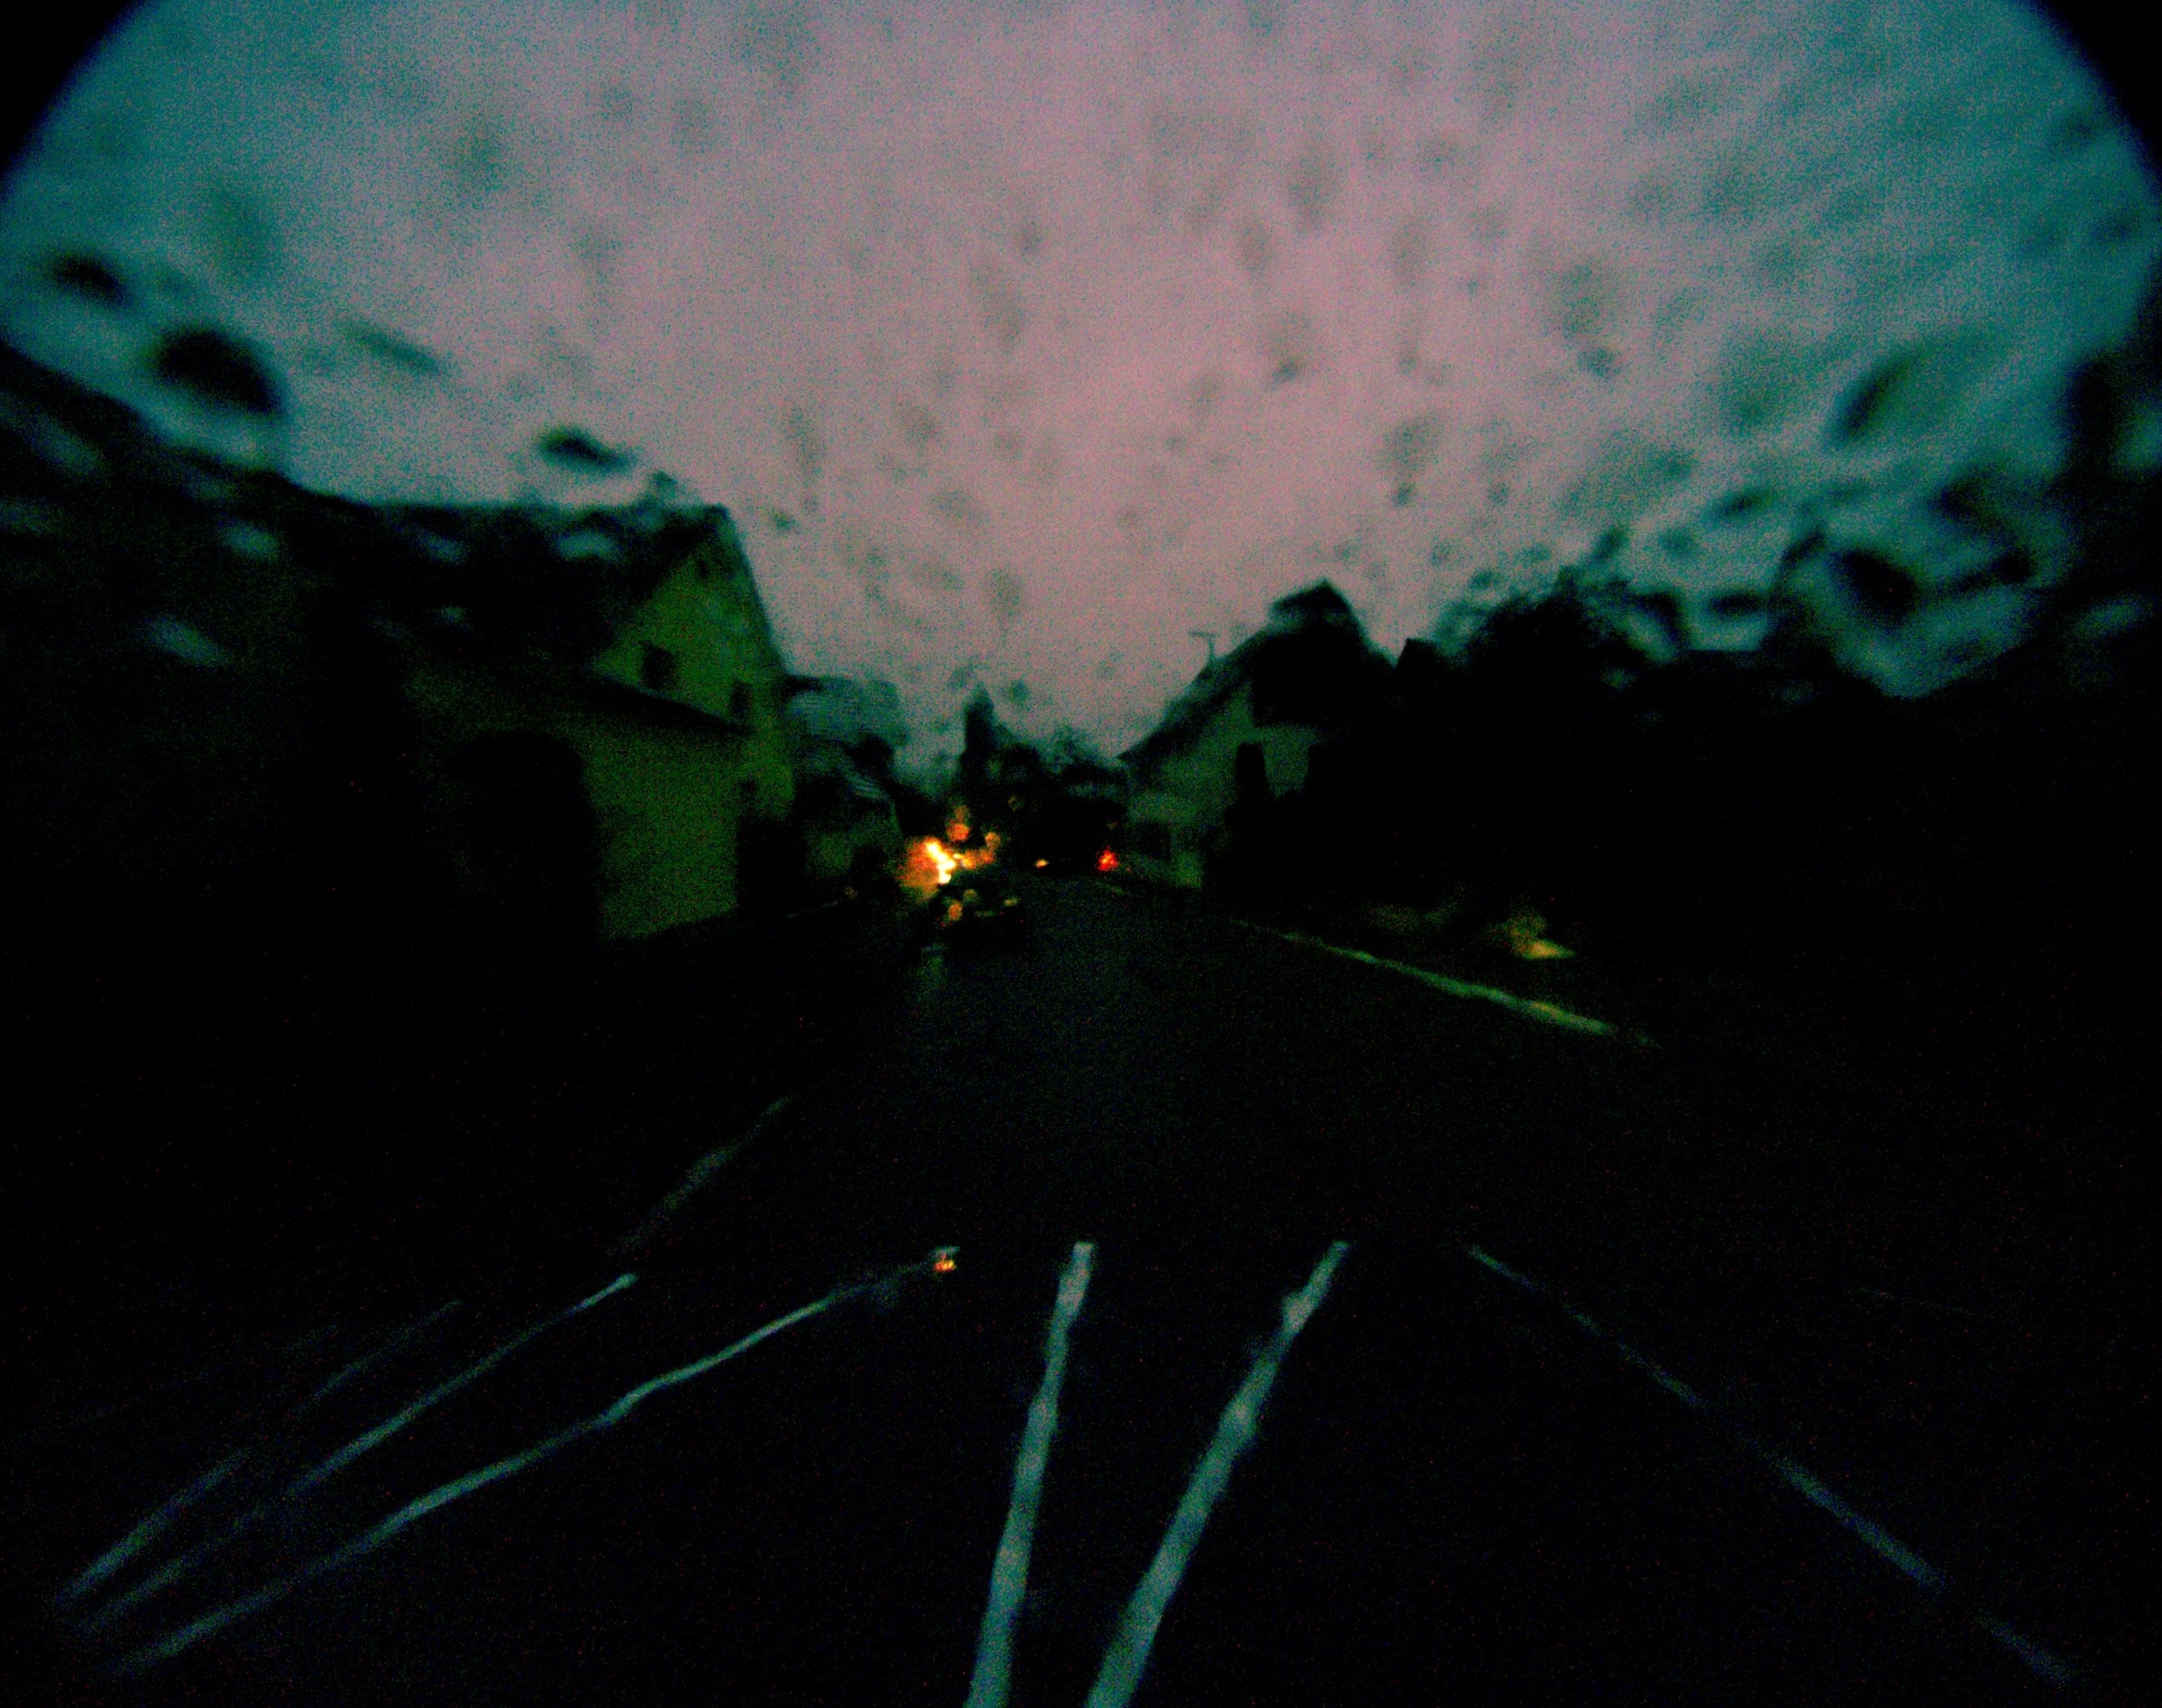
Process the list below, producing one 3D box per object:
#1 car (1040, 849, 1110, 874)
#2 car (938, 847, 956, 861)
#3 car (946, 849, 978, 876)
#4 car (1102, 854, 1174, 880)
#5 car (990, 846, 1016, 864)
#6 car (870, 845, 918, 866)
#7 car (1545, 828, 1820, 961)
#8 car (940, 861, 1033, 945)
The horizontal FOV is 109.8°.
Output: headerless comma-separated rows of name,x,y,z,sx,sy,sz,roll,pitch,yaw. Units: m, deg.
car,-0.433,0.507,53.597,4.484,1.570,1.997,-1,1,-17
car,-15.740,-0.026,89.446,1.765,1.489,3.996,-2,1,-7
car,-9.348,0.648,59.659,2.001,2.002,3.994,-1,1,-15
car,3.410,0.739,46.047,2.004,1.417,4.225,-2,2,-40
car,-7.208,0.067,70.196,2.000,1.620,3.995,-1,1,-11
car,-16.775,0.095,68.103,4.003,1.784,1.996,-1,1,-20
car,9.146,0.497,11.558,3.639,1.646,1.907,-3,2,-26
car,-2.152,0.973,17.109,1.731,1.423,4.794,-2,1,-8
